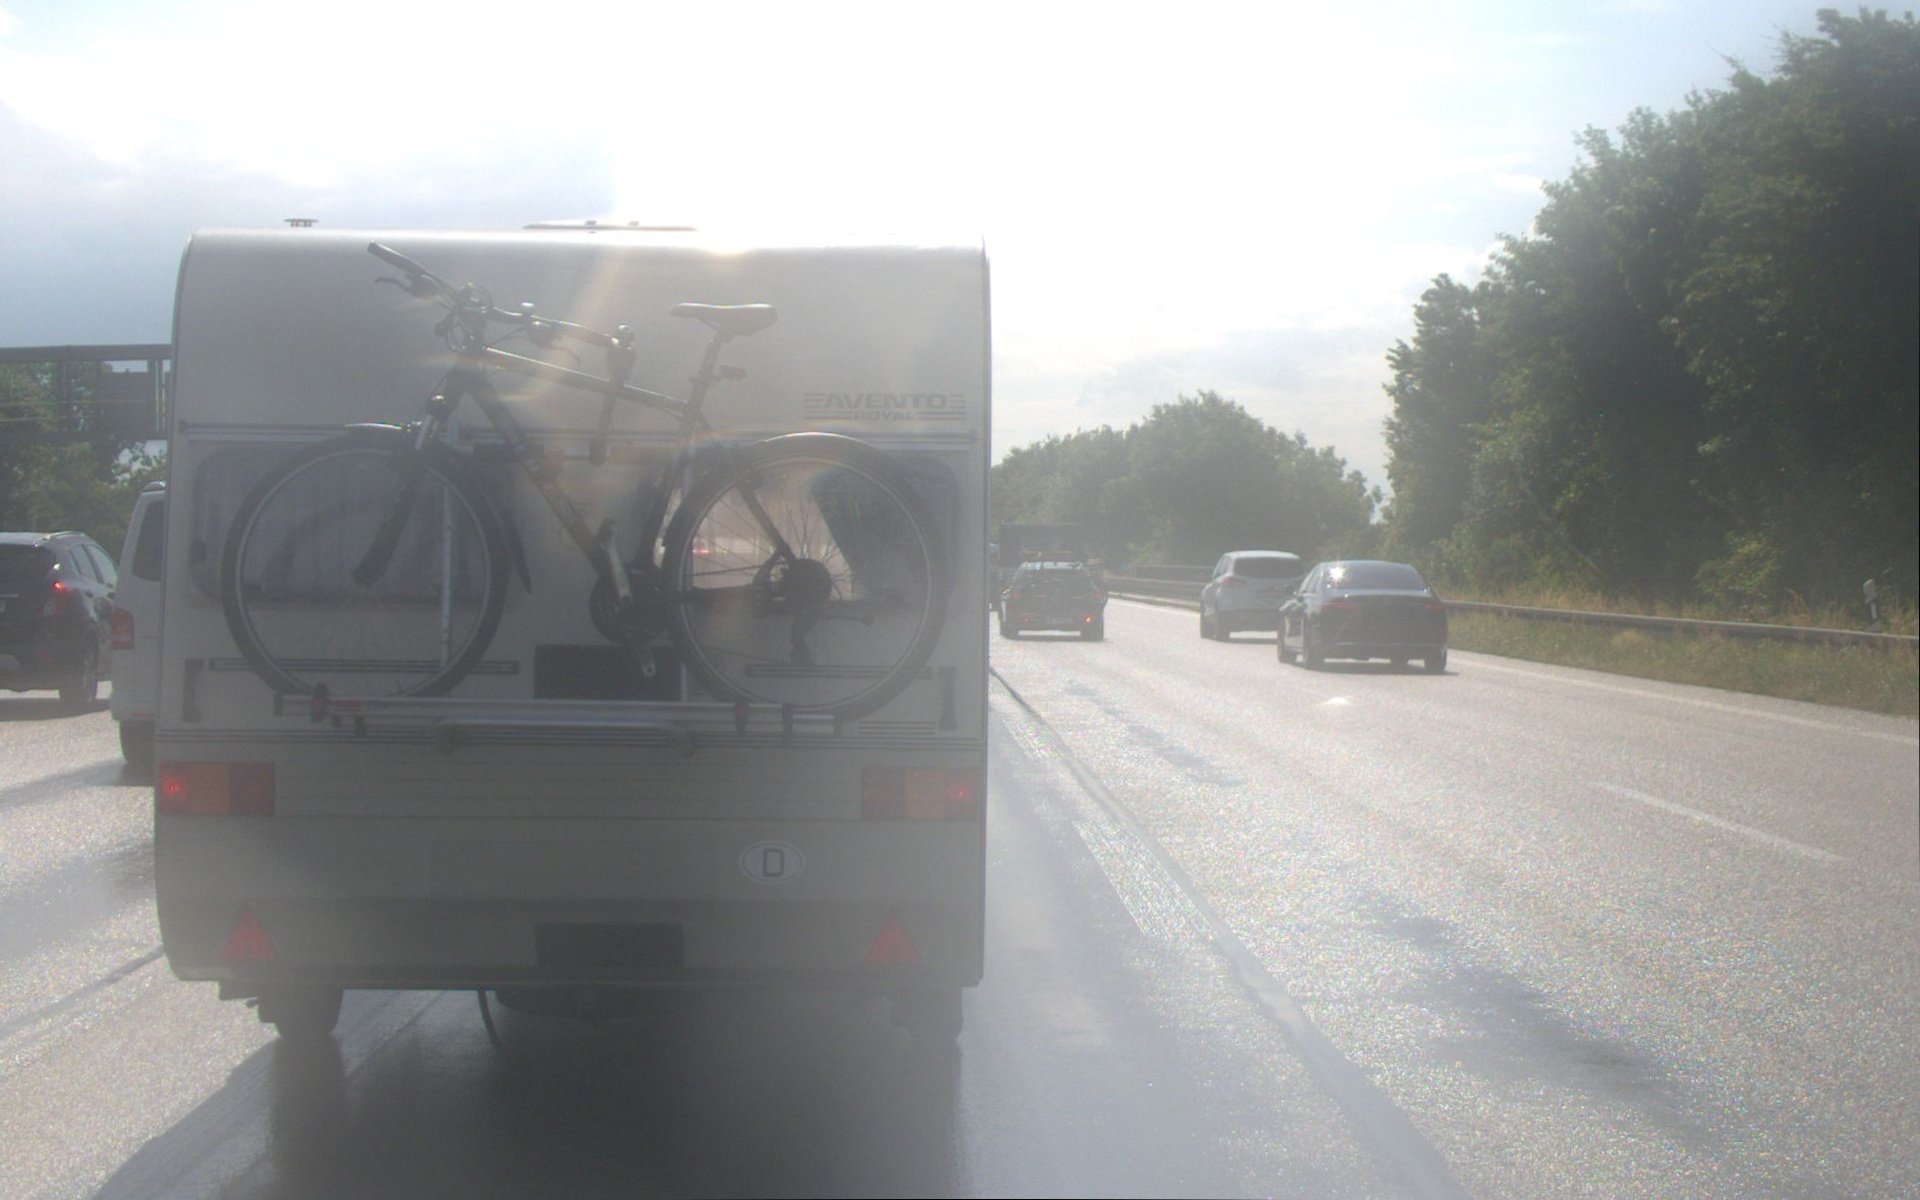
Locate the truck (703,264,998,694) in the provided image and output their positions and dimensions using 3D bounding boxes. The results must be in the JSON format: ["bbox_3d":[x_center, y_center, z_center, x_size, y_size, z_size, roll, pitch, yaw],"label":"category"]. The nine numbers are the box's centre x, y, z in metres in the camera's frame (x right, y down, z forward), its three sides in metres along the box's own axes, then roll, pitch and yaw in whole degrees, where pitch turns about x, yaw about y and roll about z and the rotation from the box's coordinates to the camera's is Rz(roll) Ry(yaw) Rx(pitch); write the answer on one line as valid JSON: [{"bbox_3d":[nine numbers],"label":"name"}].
[{"bbox_3d":[-1.376,-1.369,42.377,3.146,4.610,10.737,0,1,-2],"label":"truck"}]

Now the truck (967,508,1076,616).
[{"bbox_3d":[1.415,-0.919,81.546,2.415,2.435,6.053,1,1,0],"label":"truck"}]

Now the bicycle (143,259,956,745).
[{"bbox_3d":[-0.985,-0.237,8.434,1.933,1.137,0.384,1,0,0],"label":"bicycle"}]

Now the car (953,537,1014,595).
[{"bbox_3d":[0.663,-1.011,101.102,1.719,1.678,4.000,1,1,0],"label":"car"}]

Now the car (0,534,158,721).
[{"bbox_3d":[-8.846,0.221,32.581,1.771,1.656,4.001,1,0,-4],"label":"car"}]

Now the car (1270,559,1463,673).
[{"bbox_3d":[5.611,0.192,47.888,1.876,1.489,4.001,1,1,-5],"label":"car"}]

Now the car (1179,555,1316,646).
[{"bbox_3d":[5.333,-0.008,64.160,1.876,1.623,4.001,1,0,-5],"label":"car"}]

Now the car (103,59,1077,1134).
[{"bbox_3d":[-0.944,-0.025,10.638,2.410,2.665,4.000,1,0,0],"label":"car"}]

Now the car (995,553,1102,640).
[{"bbox_3d":[1.627,-0.089,64.357,1.835,1.552,4.000,1,0,0],"label":"car"}]

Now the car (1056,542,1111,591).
[{"bbox_3d":[4.318,-1.174,120.645,1.719,1.678,4.000,1,1,0],"label":"car"}]

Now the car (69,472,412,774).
[{"bbox_3d":[-5.165,0.136,25.171,1.876,2.007,4.001,1,0,-4],"label":"car"}]
